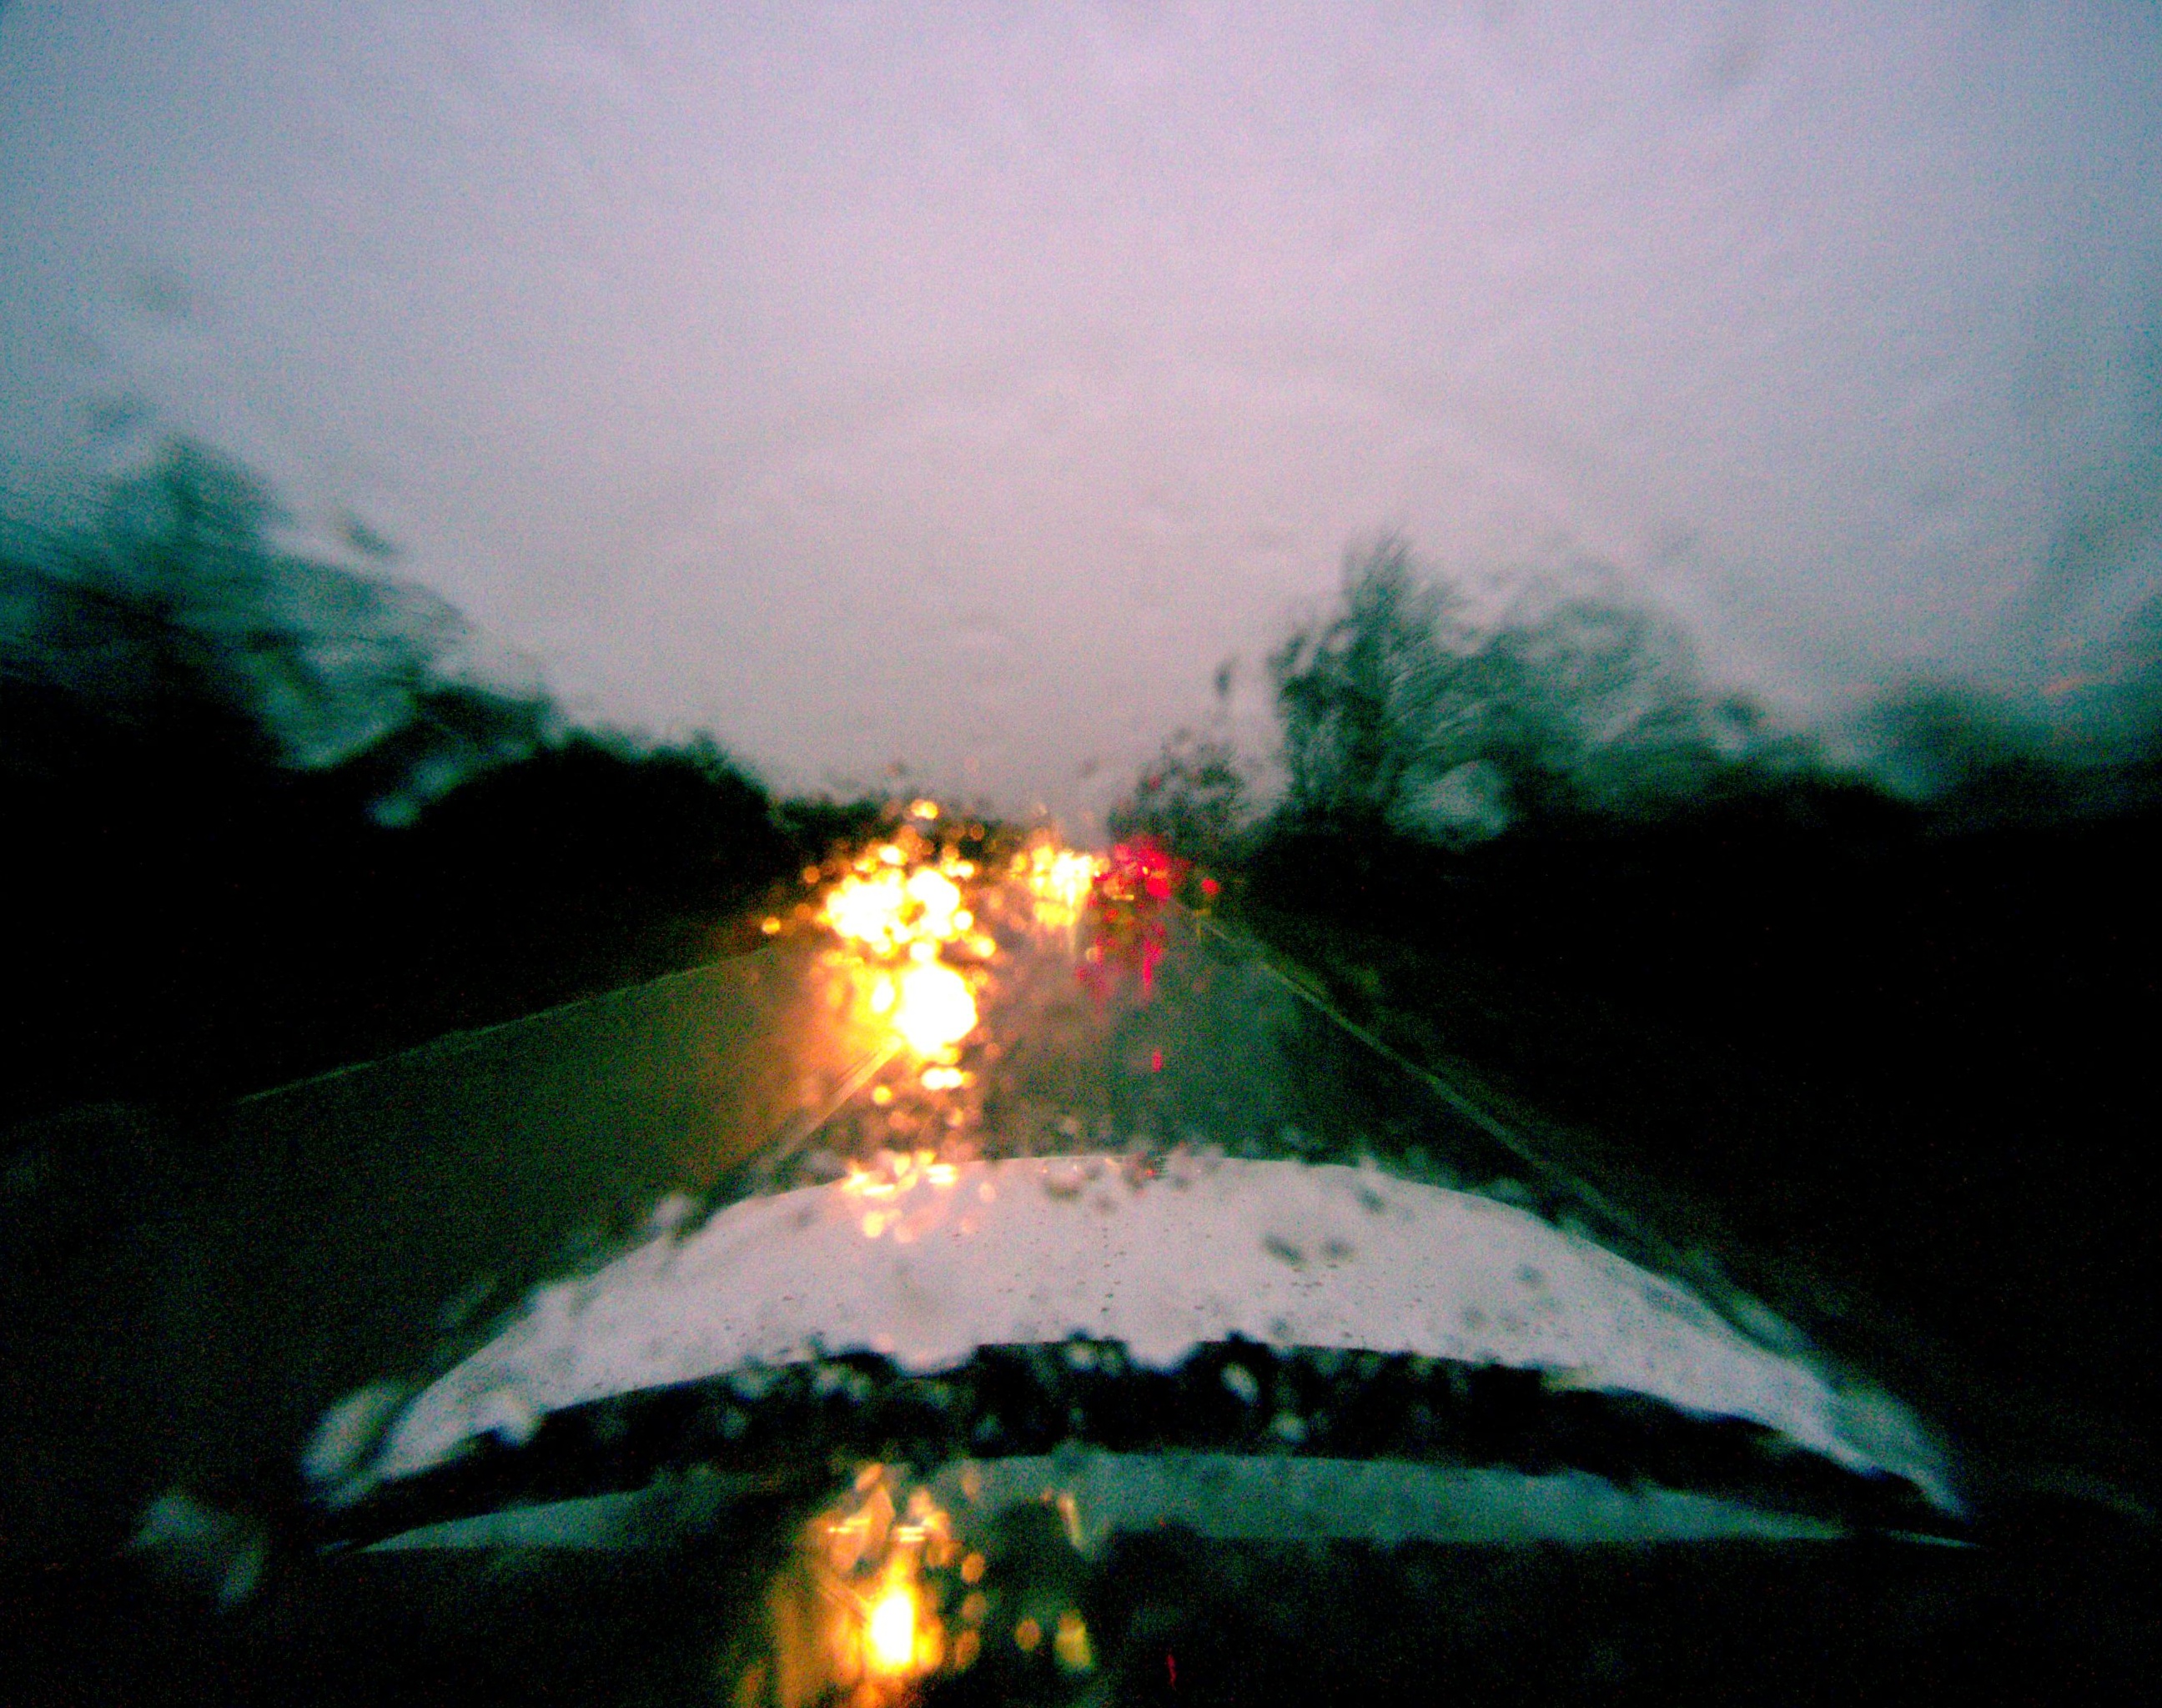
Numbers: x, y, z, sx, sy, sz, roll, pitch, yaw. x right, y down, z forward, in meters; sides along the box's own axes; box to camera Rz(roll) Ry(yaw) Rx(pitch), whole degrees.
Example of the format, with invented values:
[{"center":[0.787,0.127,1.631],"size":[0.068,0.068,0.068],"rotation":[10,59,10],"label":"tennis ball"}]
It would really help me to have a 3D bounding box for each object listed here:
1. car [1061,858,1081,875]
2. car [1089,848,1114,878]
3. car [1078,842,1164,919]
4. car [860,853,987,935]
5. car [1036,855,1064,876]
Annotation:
[{"center":[-1.011,1.207,81.752],"size":[1.751,1.640,4.688],"rotation":[0,0,2],"label":"car"},{"center":[1.381,0.576,53.946],"size":[1.568,1.875,3.712],"rotation":[0,0,3],"label":"car"},{"center":[1.036,0.615,20.923],"size":[1.985,1.784,4.003],"rotation":[0,0,3],"label":"car"},{"center":[-3.101,0.738,16.822],"size":[1.744,1.474,3.892],"rotation":[-1,0,2],"label":"car"},{"center":[-2.289,0.818,60.990],"size":[1.819,1.498,4.095],"rotation":[-1,0,0],"label":"car"}]
